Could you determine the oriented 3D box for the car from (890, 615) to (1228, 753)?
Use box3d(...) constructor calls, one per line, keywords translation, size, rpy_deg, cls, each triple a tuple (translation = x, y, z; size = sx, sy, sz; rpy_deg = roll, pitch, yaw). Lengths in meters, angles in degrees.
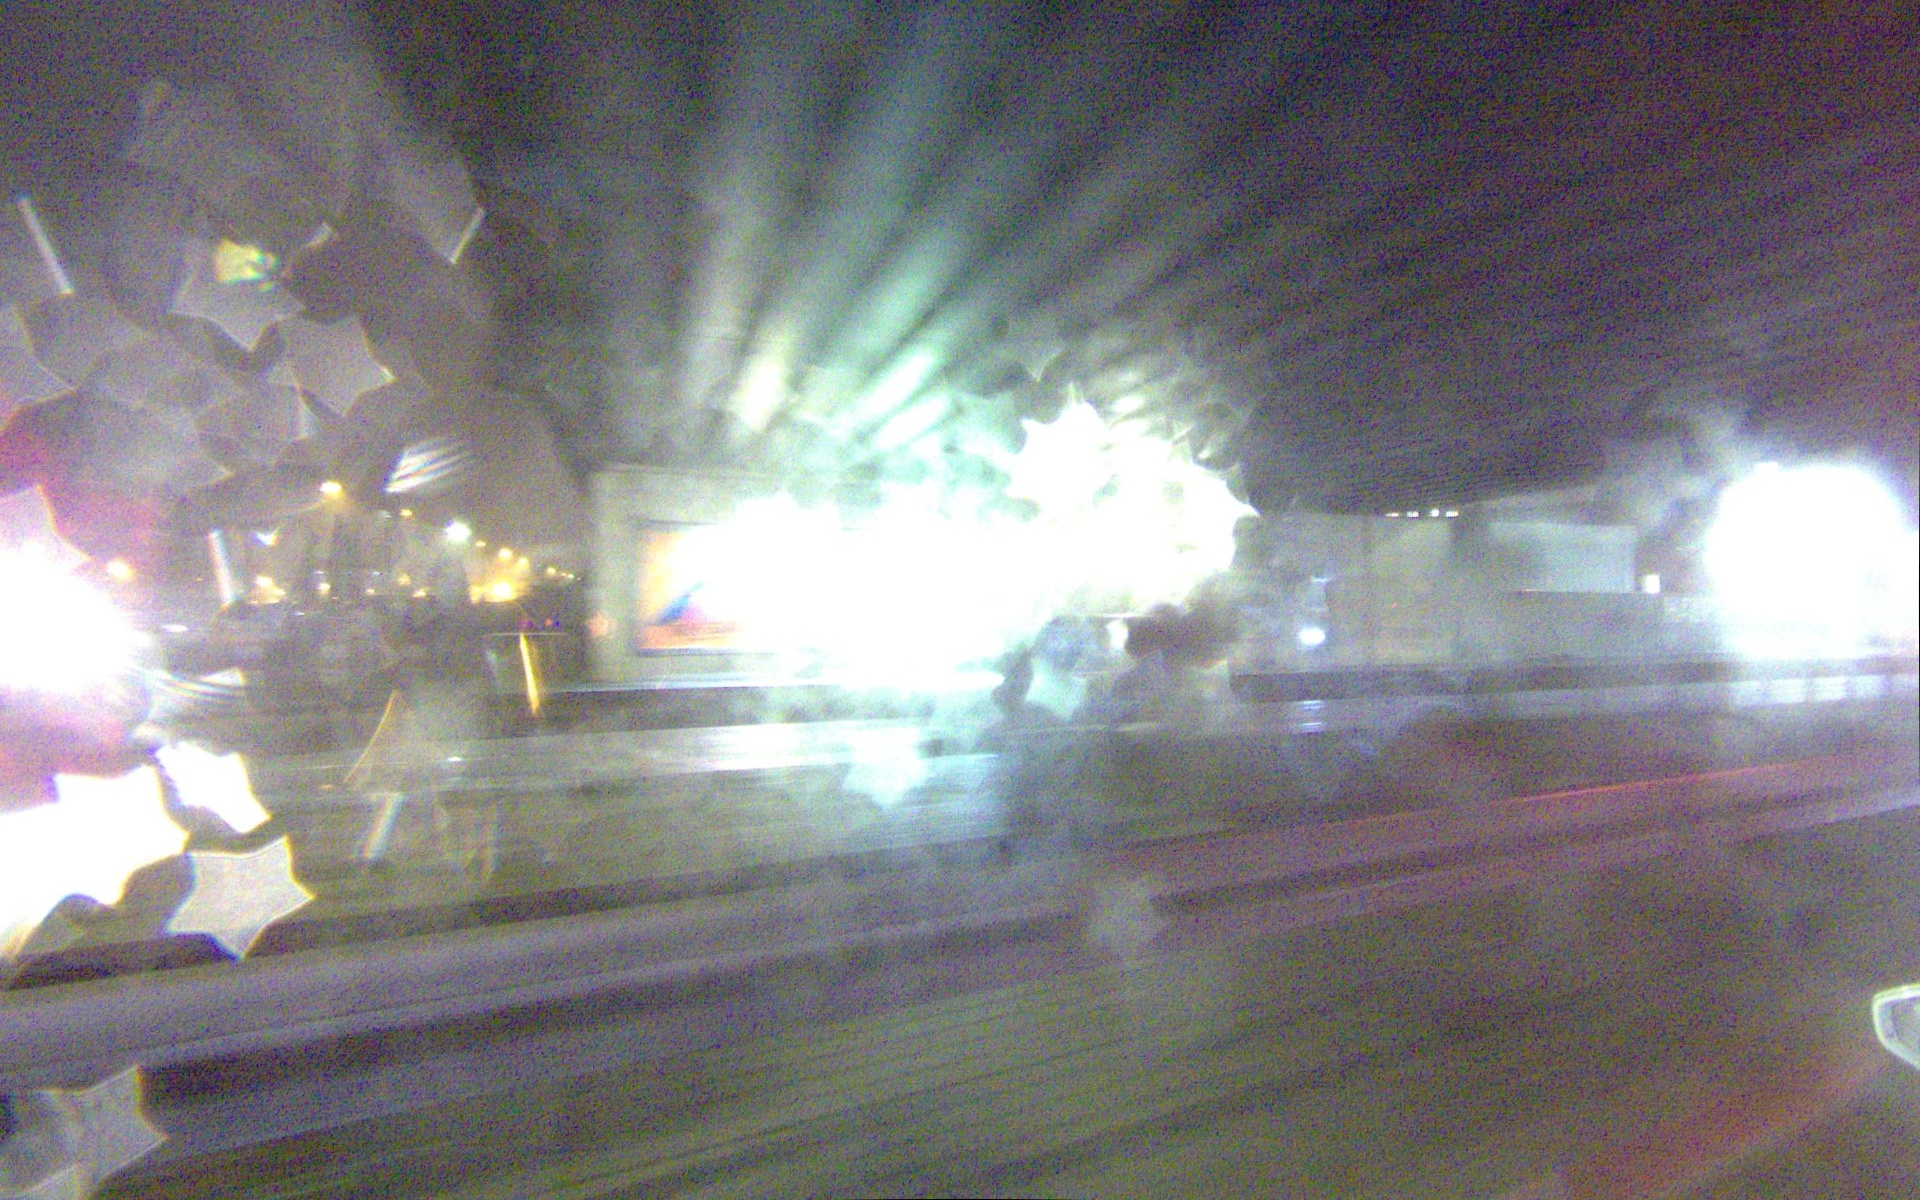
box3d(translation=(1.349, 1.002, 13.097), size=(4.260, 1.557, 1.590), rpy_deg=(1, -2, -29), cls="car")
